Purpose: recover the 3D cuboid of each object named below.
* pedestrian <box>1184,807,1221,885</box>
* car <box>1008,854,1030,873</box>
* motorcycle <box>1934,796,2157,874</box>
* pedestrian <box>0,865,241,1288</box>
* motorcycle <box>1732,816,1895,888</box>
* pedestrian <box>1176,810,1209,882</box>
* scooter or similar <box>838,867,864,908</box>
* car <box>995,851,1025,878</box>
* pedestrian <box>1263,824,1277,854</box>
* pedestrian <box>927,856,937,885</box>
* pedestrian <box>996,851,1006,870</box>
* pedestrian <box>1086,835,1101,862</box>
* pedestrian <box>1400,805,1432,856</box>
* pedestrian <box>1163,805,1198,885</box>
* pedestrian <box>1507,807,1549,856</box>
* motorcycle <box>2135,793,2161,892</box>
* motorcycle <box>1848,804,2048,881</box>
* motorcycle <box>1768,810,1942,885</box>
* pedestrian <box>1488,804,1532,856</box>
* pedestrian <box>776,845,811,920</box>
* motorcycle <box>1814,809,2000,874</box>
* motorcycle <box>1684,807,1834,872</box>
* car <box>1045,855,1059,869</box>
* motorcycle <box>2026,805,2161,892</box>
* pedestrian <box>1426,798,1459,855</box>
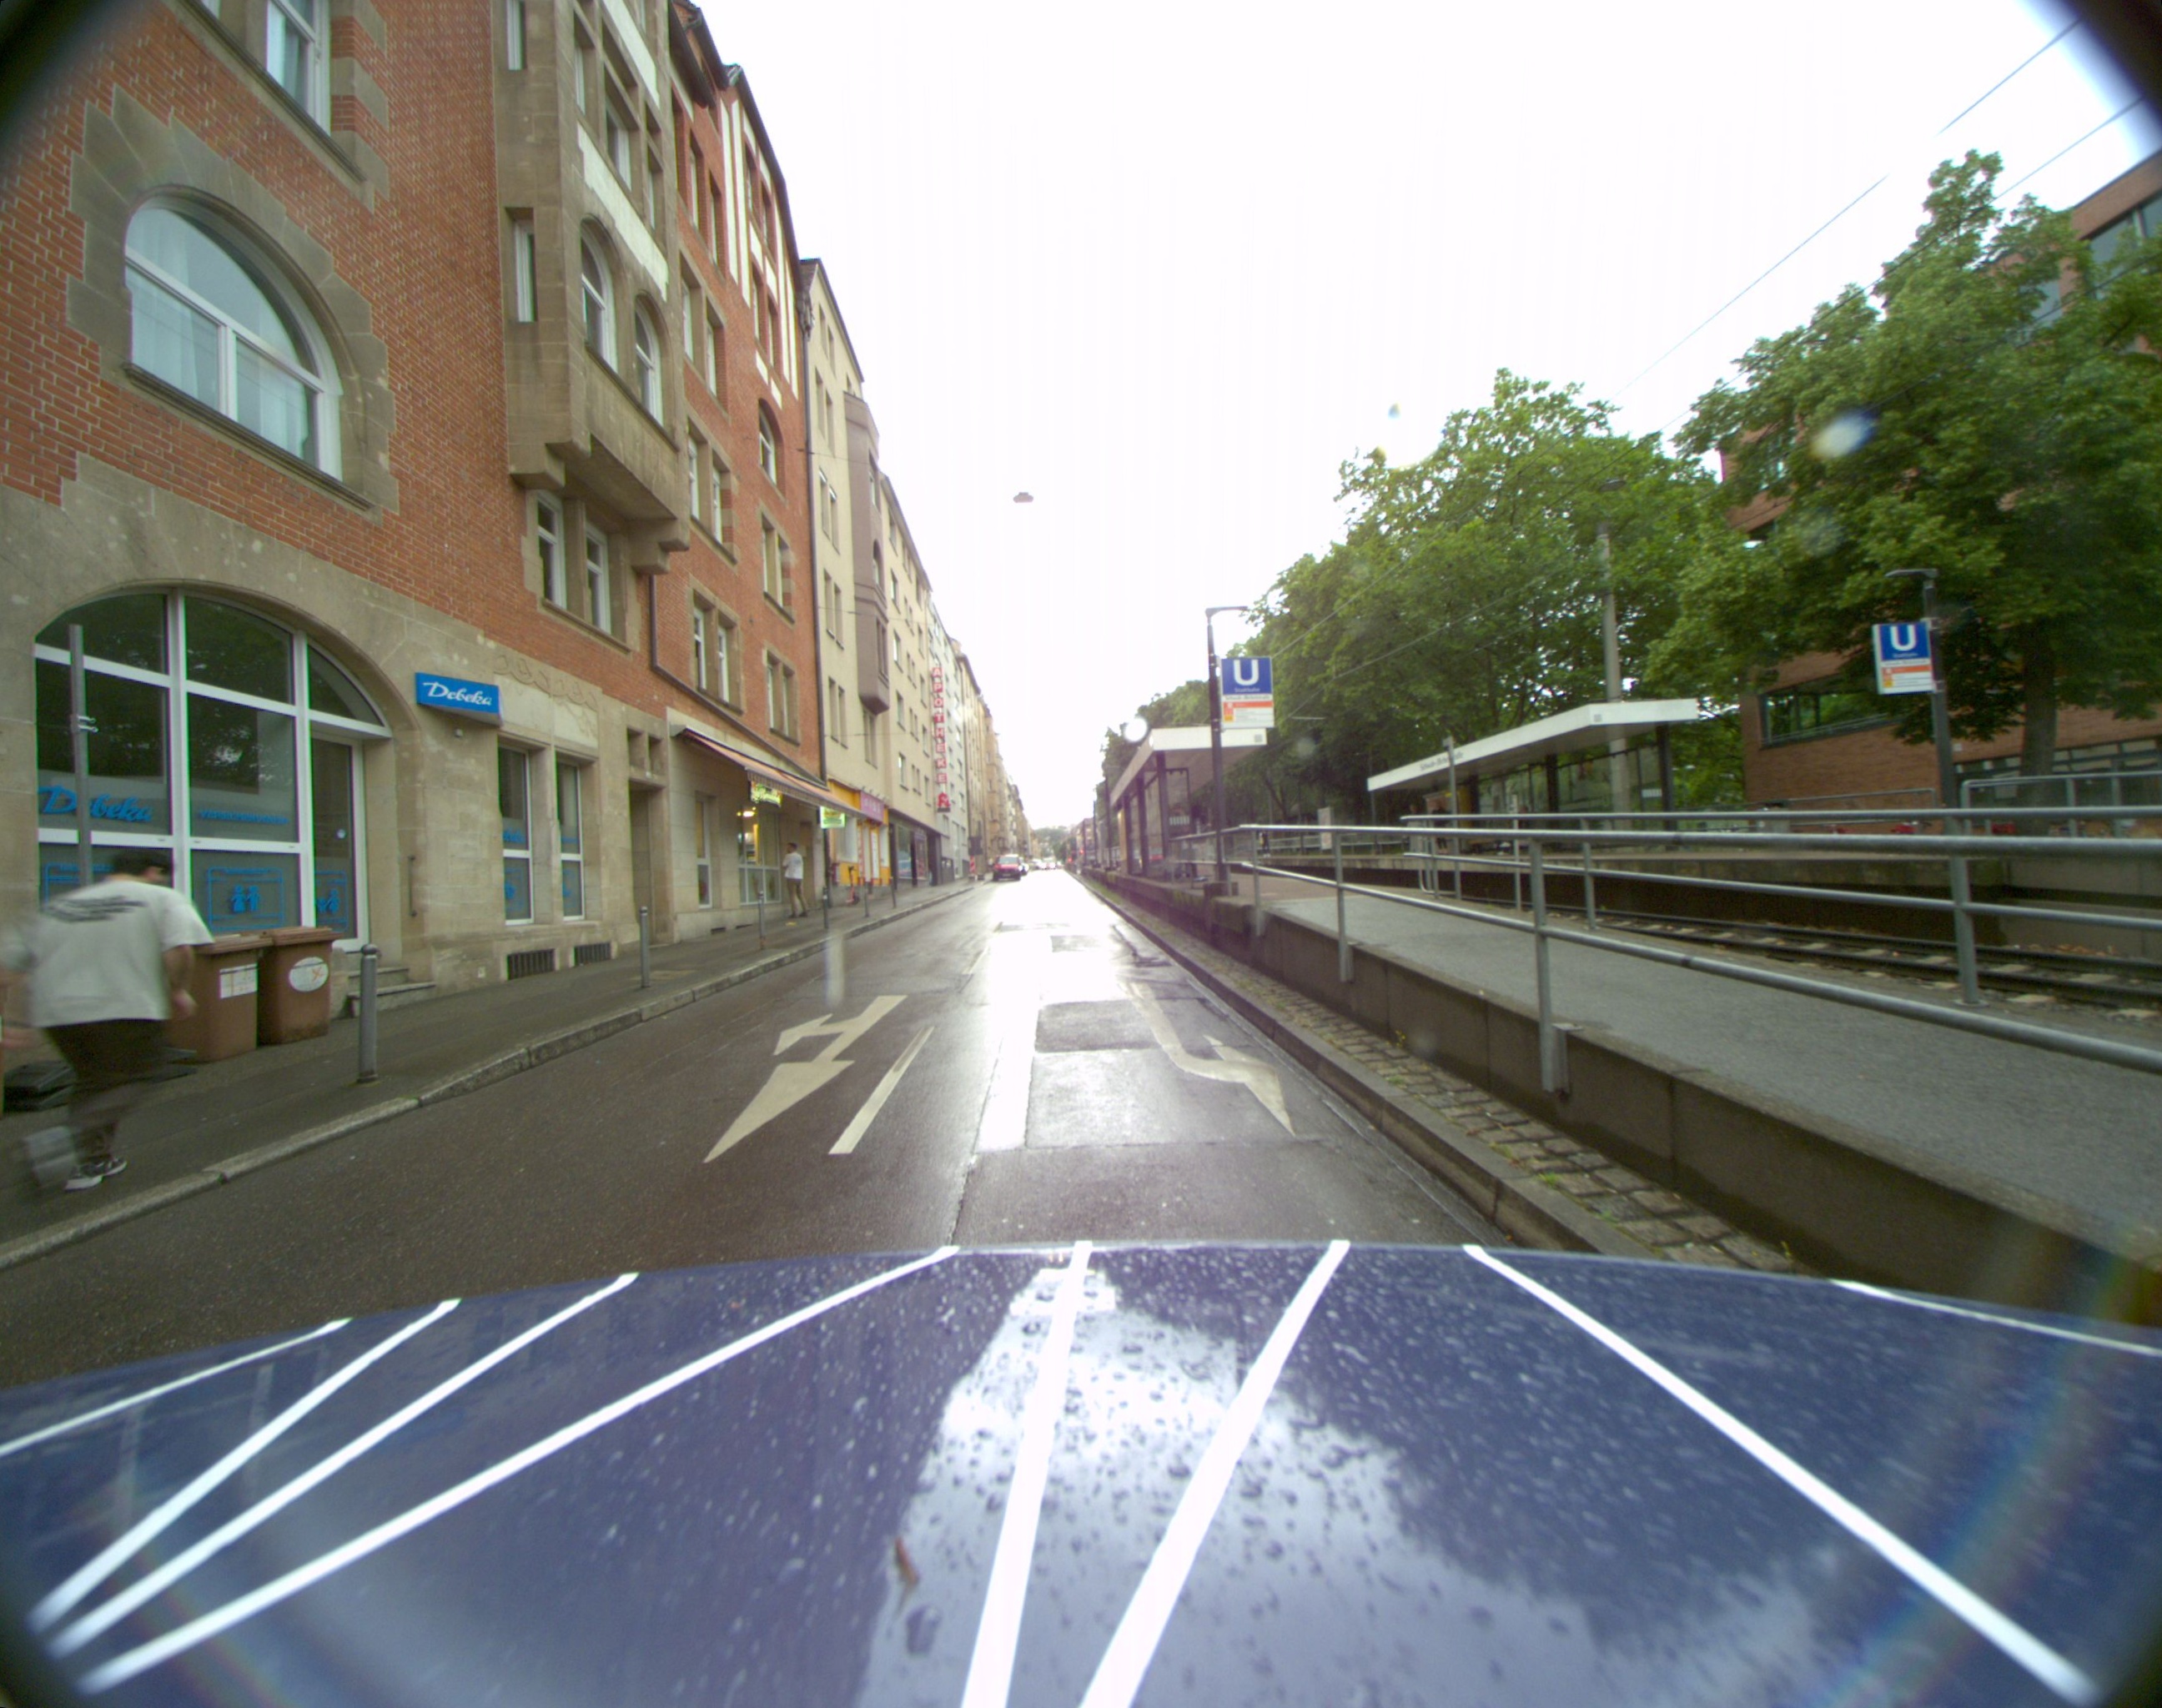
[{"bbox_3d":[2.511,-0.162,15.747,0.615,1.572,0.507,-3,1,1],"label":"pedestrian"},{"bbox_3d":[-5.772,0.884,71.012,1.770,1.698,4.499,-3,0,-1],"label":"car"},{"bbox_3d":[21.357,-0.411,16.867,3.875,1.479,1.006,-3,1,-4],"label":"motorcycle"},{"bbox_3d":[-4.657,0.938,3.550,0.688,1.743,0.834,-2,1,-29],"label":"pedestrian"},{"bbox_3d":[21.136,-0.060,21.969,3.875,1.805,1.006,-3,1,-4],"label":"motorcycle"},{"bbox_3d":[2.509,-0.172,17.153,0.615,1.572,0.507,-3,1,1],"label":"pedestrian"},{"bbox_3d":[-7.190,1.037,23.758,0.258,1.214,1.195,-3,-1,7],"label":"scooter or similar"},{"bbox_3d":[-5.070,0.709,54.966,1.980,1.827,5.243,-3,0,-4],"label":"car"},{"bbox_3d":[10.685,-0.853,43.075,0.563,1.631,0.689,-4,0,4],"label":"pedestrian"},{"bbox_3d":[-8.446,0.920,43.033,0.482,1.635,0.331,-4,1,-14],"label":"pedestrian"},{"bbox_3d":[-7.663,0.588,72.846,0.853,1.747,0.837,-4,0,-2],"label":"pedestrian"},{"bbox_3d":[0.826,-0.363,50.463,0.861,1.788,0.787,-3,0,-3],"label":"pedestrian"},{"bbox_3d":[11.092,-0.776,25.172,0.688,1.631,0.564,-4,0,-4],"label":"pedestrian"},{"bbox_3d":[2.166,-0.191,16.582,0.615,1.678,0.587,-3,1,1],"label":"pedestrian"},{"bbox_3d":[11.821,-0.588,20.102,0.705,1.233,0.564,-4,0,-4],"label":"pedestrian"},{"bbox_3d":[21.178,-0.296,13.732,3.045,1.805,0.993,-3,1,-4],"label":"motorcycle"},{"bbox_3d":[20.925,-0.285,18.380,3.875,1.596,1.006,-3,1,-4],"label":"motorcycle"},{"bbox_3d":[21.177,-0.173,20.821,3.875,1.805,1.006,-3,1,-4],"label":"motorcycle"},{"bbox_3d":[11.715,-0.648,20.752,0.779,1.354,0.564,-4,0,-4],"label":"pedestrian"},{"bbox_3d":[-7.114,0.679,18.814,0.562,1.820,0.580,2,2,31],"label":"pedestrian"},{"bbox_3d":[21.242,-0.319,19.591,3.875,1.399,1.006,-3,1,-4],"label":"motorcycle"},{"bbox_3d":[20.954,-0.440,23.520,3.875,1.763,1.006,-3,1,-4],"label":"motorcycle"},{"bbox_3d":[-3.677,1.036,95.307,1.621,1.592,4.066,-2,-1,-2],"label":"car"},{"bbox_3d":[21.324,-0.148,15.469,3.067,1.618,1.006,-3,1,-4],"label":"motorcycle"},{"bbox_3d":[11.242,-0.833,23.629,0.564,1.705,0.705,-4,0,-4],"label":"pedestrian"}]
